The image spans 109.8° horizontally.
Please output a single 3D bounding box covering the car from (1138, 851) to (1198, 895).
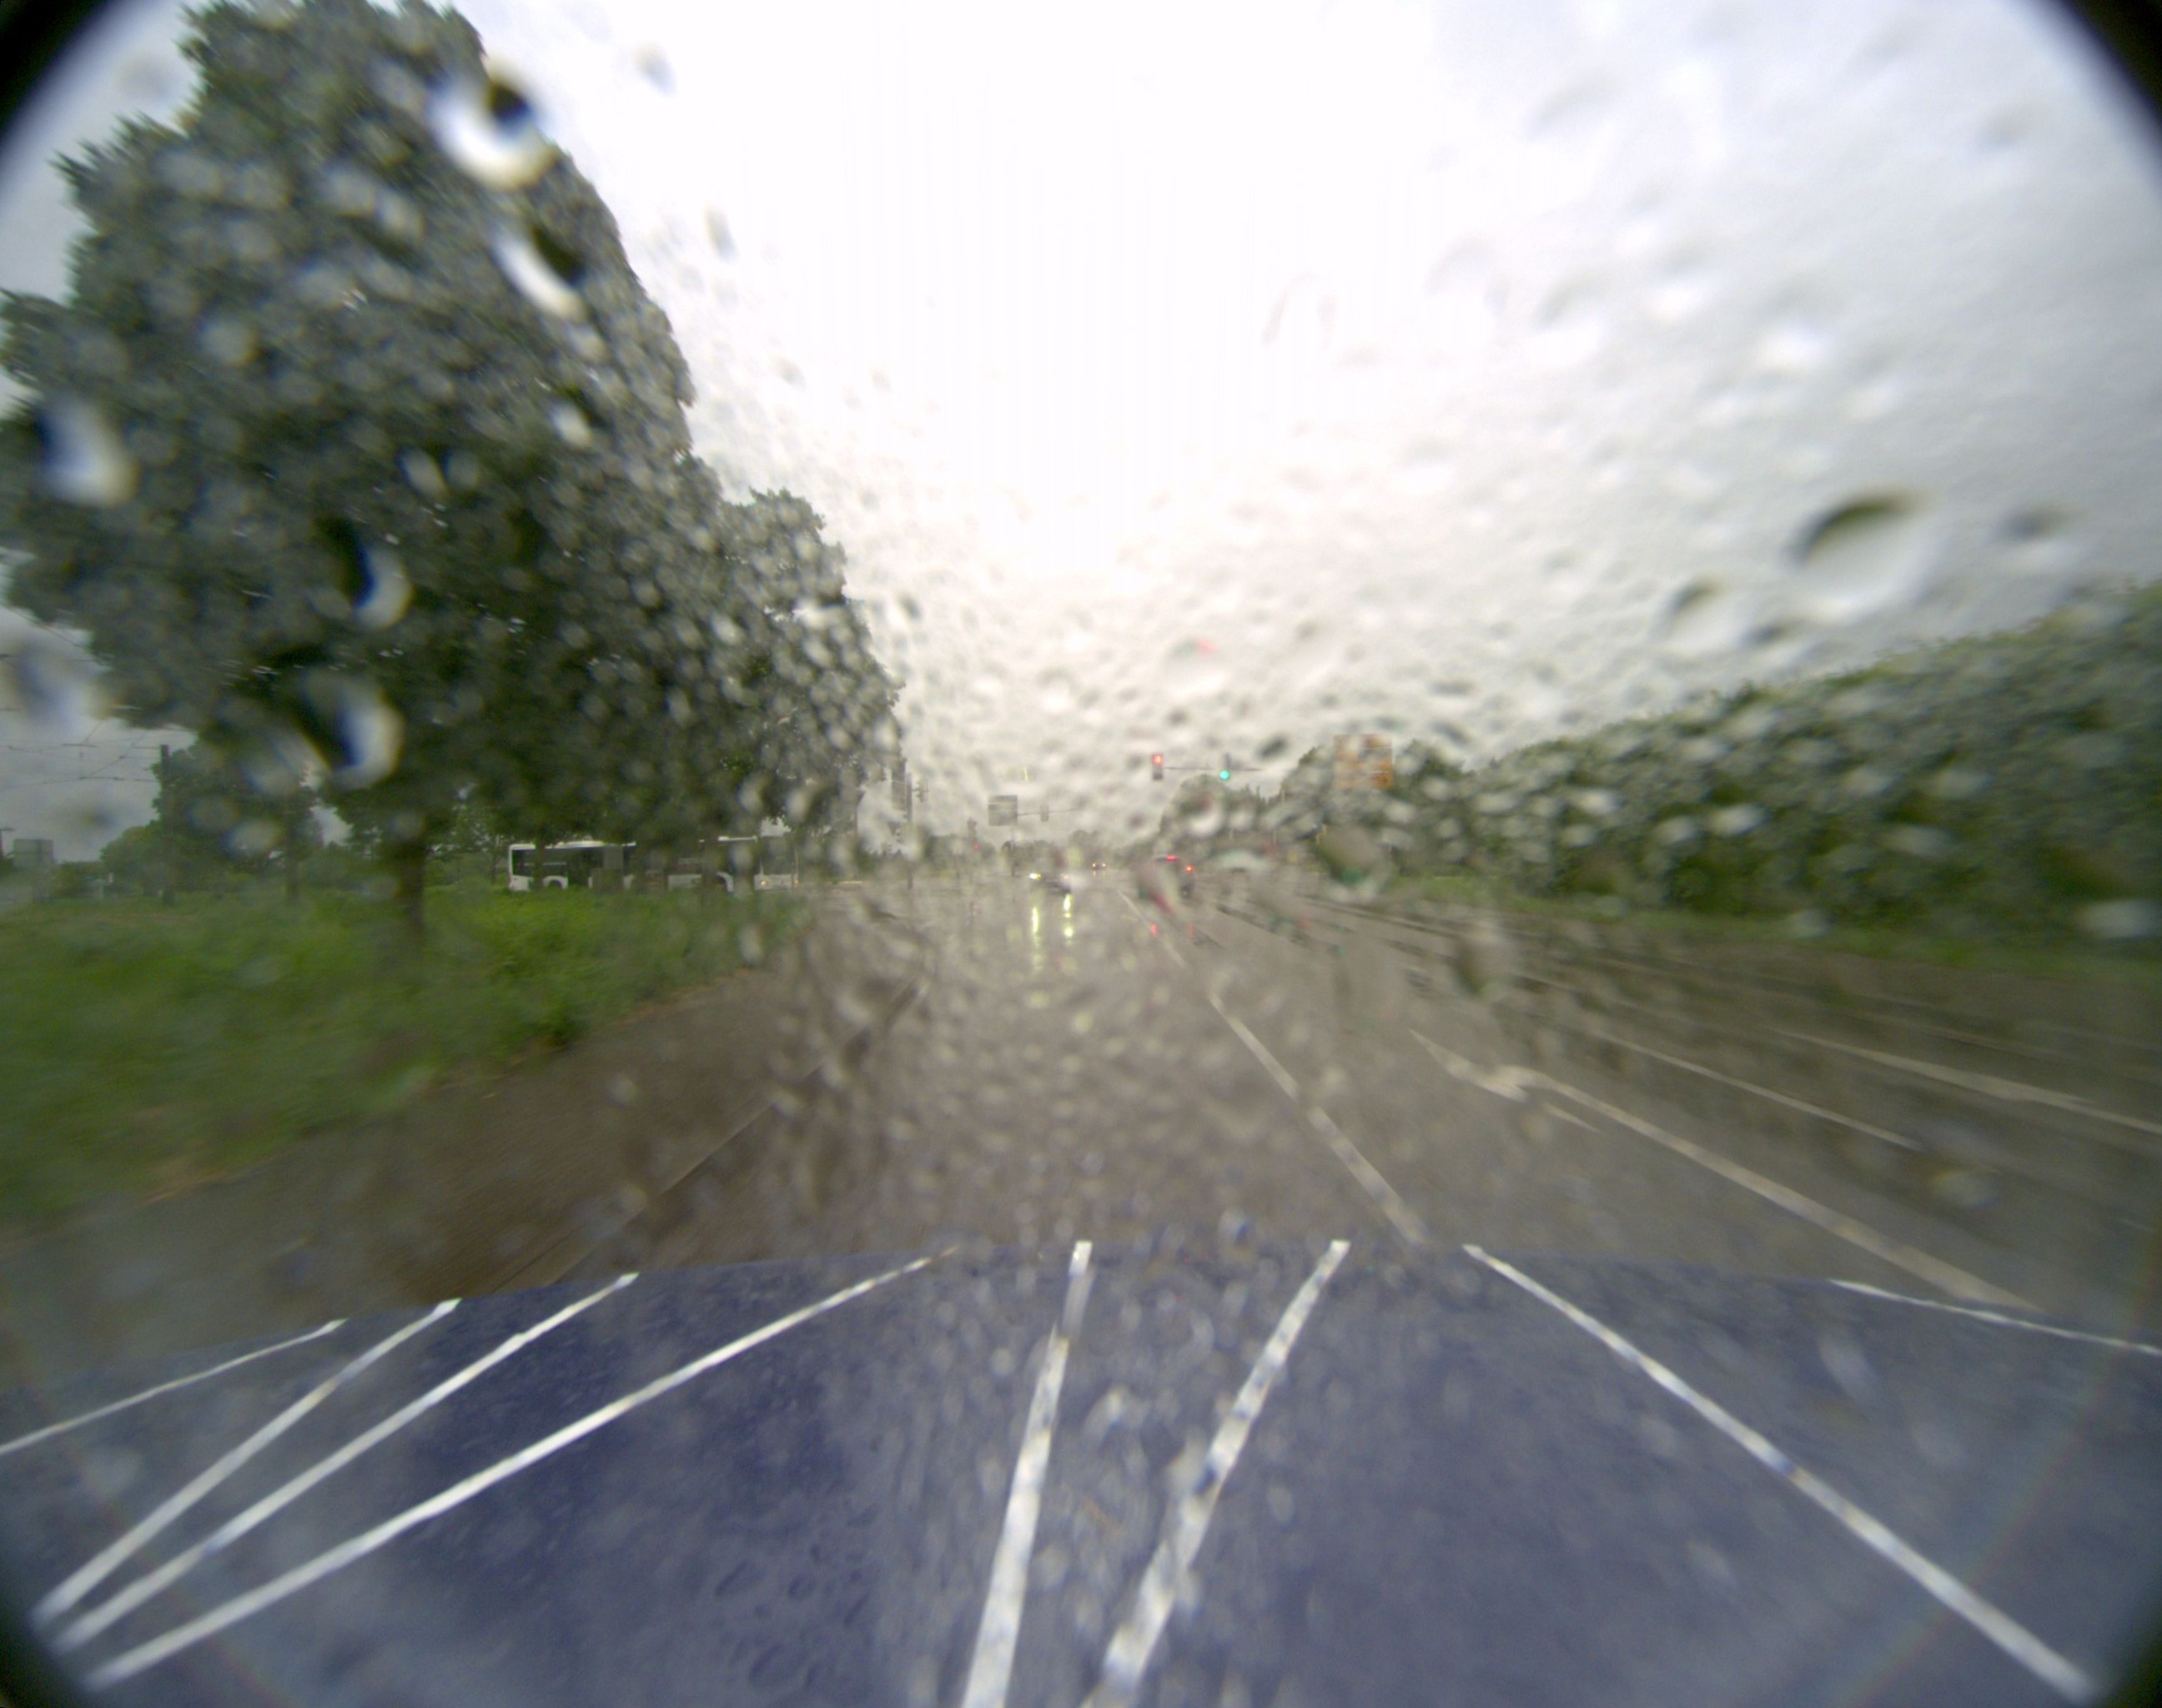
[{"bbox_3d":[3.250,0.676,28.944,1.766,1.528,3.876,0,1,-1],"label":"car"}]

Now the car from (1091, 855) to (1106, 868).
[{"bbox_3d":[2.929,1.241,125.724,1.919,2.002,4.002,-2,1,9],"label":"car"}]

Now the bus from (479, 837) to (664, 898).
[{"bbox_3d":[-28.373,0.761,42.287,9.974,3.059,2.681,-2,1,17],"label":"bus"}]

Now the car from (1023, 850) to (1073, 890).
[{"bbox_3d":[-1.436,0.676,34.834,1.998,1.622,4.000,-2,1,1],"label":"car"}]

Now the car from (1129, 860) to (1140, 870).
[{"bbox_3d":[8.376,1.736,119.716,1.617,1.510,3.655,-2,1,2],"label":"car"}]

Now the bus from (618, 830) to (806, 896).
[{"bbox_3d":[-18.929,0.503,38.792,9.970,3.059,2.682,-2,1,23],"label":"bus"}]
